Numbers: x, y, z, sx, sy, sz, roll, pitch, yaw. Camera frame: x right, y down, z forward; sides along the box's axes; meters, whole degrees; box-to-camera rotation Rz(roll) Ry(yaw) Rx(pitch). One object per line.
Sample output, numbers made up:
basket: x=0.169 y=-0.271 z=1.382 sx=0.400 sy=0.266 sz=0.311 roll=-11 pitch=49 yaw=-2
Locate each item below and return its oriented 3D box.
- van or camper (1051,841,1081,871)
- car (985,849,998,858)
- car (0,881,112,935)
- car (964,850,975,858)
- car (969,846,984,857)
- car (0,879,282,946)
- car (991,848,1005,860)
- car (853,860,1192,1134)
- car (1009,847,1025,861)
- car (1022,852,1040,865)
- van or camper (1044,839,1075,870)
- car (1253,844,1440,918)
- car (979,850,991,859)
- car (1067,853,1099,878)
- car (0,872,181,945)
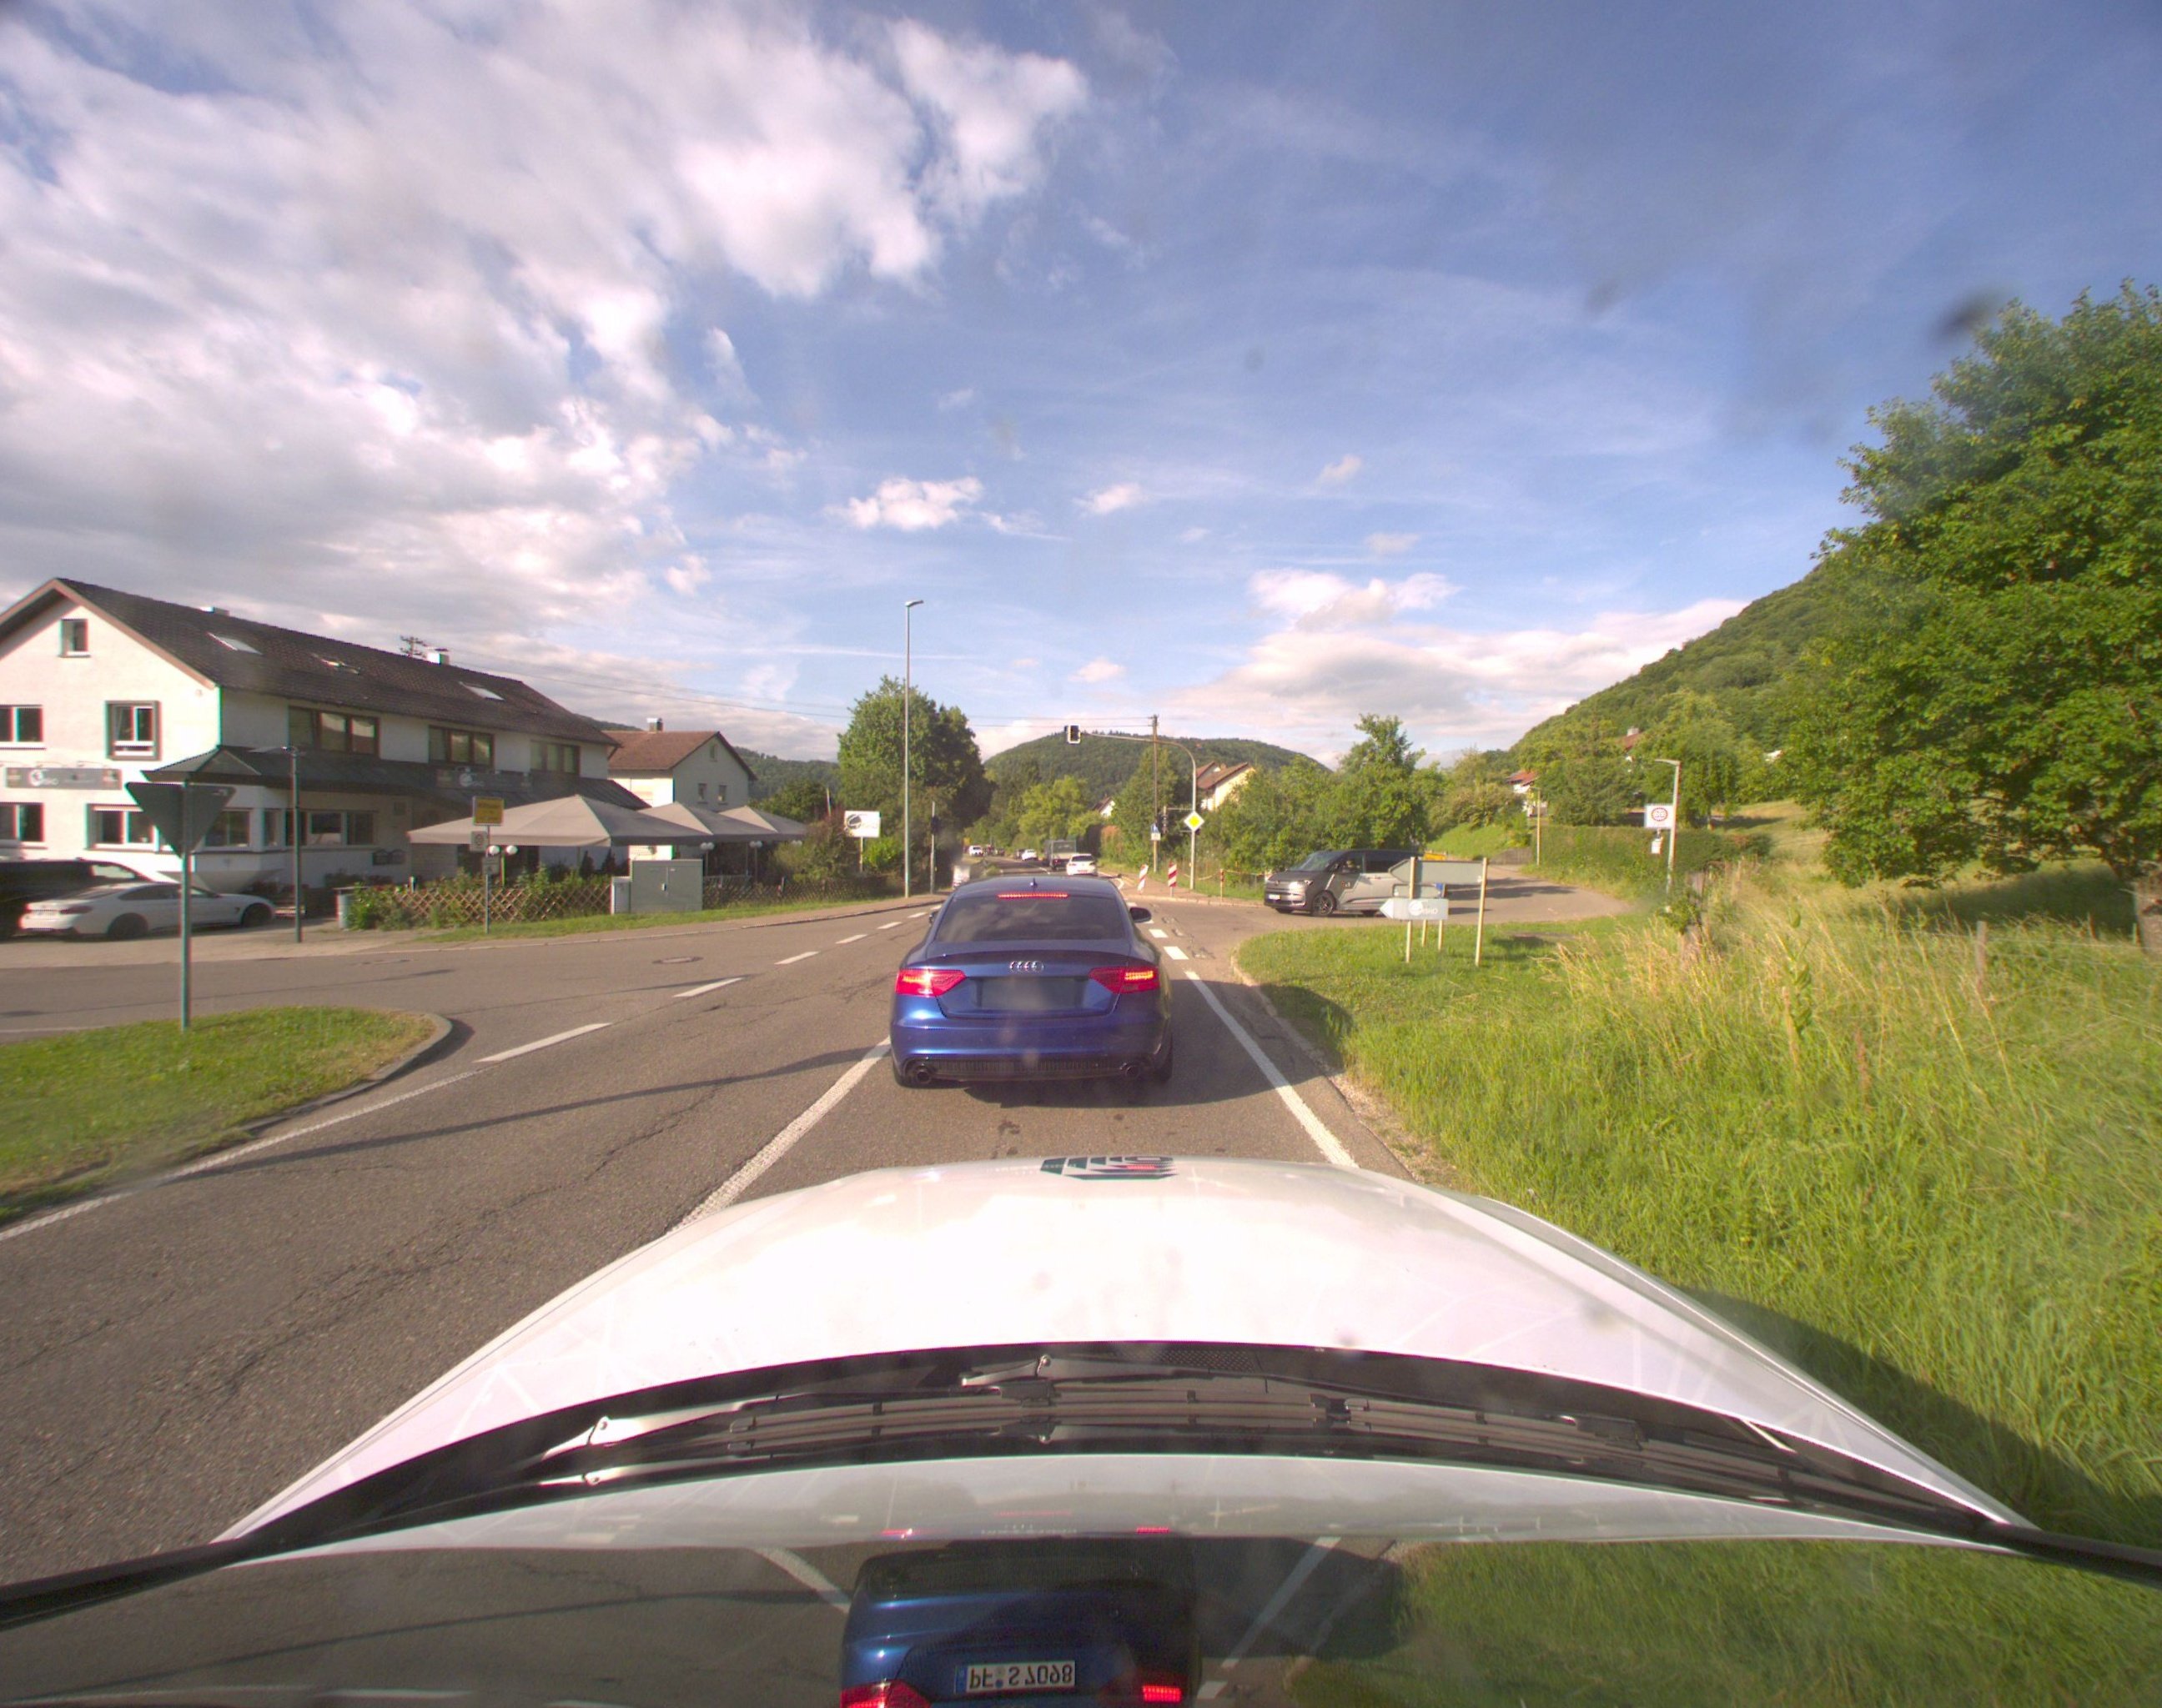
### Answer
van or camper: x=-1.312 y=0.127 z=66.844 sx=2.176 sy=2.385 sz=5.362 roll=-1 pitch=0 yaw=-4
car: x=-16.342 y=-0.127 z=148.514 sx=2.043 sy=1.684 sz=3.982 roll=-1 pitch=1 yaw=-13
car: x=-30.401 y=1.536 z=22.317 sx=1.984 sy=1.389 sz=4.582 roll=-2 pitch=0 yaw=5
car: x=-24.031 y=-0.023 z=175.359 sx=1.774 sy=1.783 sz=3.982 roll=-1 pitch=0 yaw=-13
car: x=-17.912 y=-0.426 z=139.512 sx=1.995 sy=1.903 sz=5.230 roll=-2 pitch=1 yaw=-13
car: x=-24.638 y=1.470 z=21.663 sx=1.984 sy=1.389 sz=4.582 roll=-2 pitch=0 yaw=5
car: x=-14.279 y=-0.063 z=139.719 sx=1.995 sy=2.013 sz=3.983 roll=-1 pitch=1 yaw=-12
car: x=-0.309 y=0.801 z=6.596 sx=1.824 sy=1.409 sz=4.226 roll=-2 pitch=0 yaw=0
car: x=-9.064 y=0.012 z=115.344 sx=1.798 sy=1.794 sz=3.984 roll=-1 pitch=0 yaw=-12
car: x=-6.432 y=0.547 z=104.005 sx=1.819 sy=1.552 sz=3.987 roll=-1 pitch=0 yaw=-9
van or camper: x=-2.189 y=0.037 z=80.872 sx=2.413 sy=2.904 sz=6.116 roll=-1 pitch=0 yaw=-7
car: x=7.452 y=0.716 z=22.875 sx=4.875 sy=1.876 sz=1.985 roll=1 pitch=1 yaw=-23
car: x=-18.506 y=0.092 z=157.122 sx=1.944 sy=1.684 sz=3.982 roll=-2 pitch=0 yaw=-13
car: x=0.130 y=0.646 z=47.869 sx=1.765 sy=1.415 sz=4.174 roll=1 pitch=0 yaw=0
car: x=-27.335 y=1.406 z=21.417 sx=1.984 sy=1.685 sz=4.582 roll=-2 pitch=0 yaw=5
